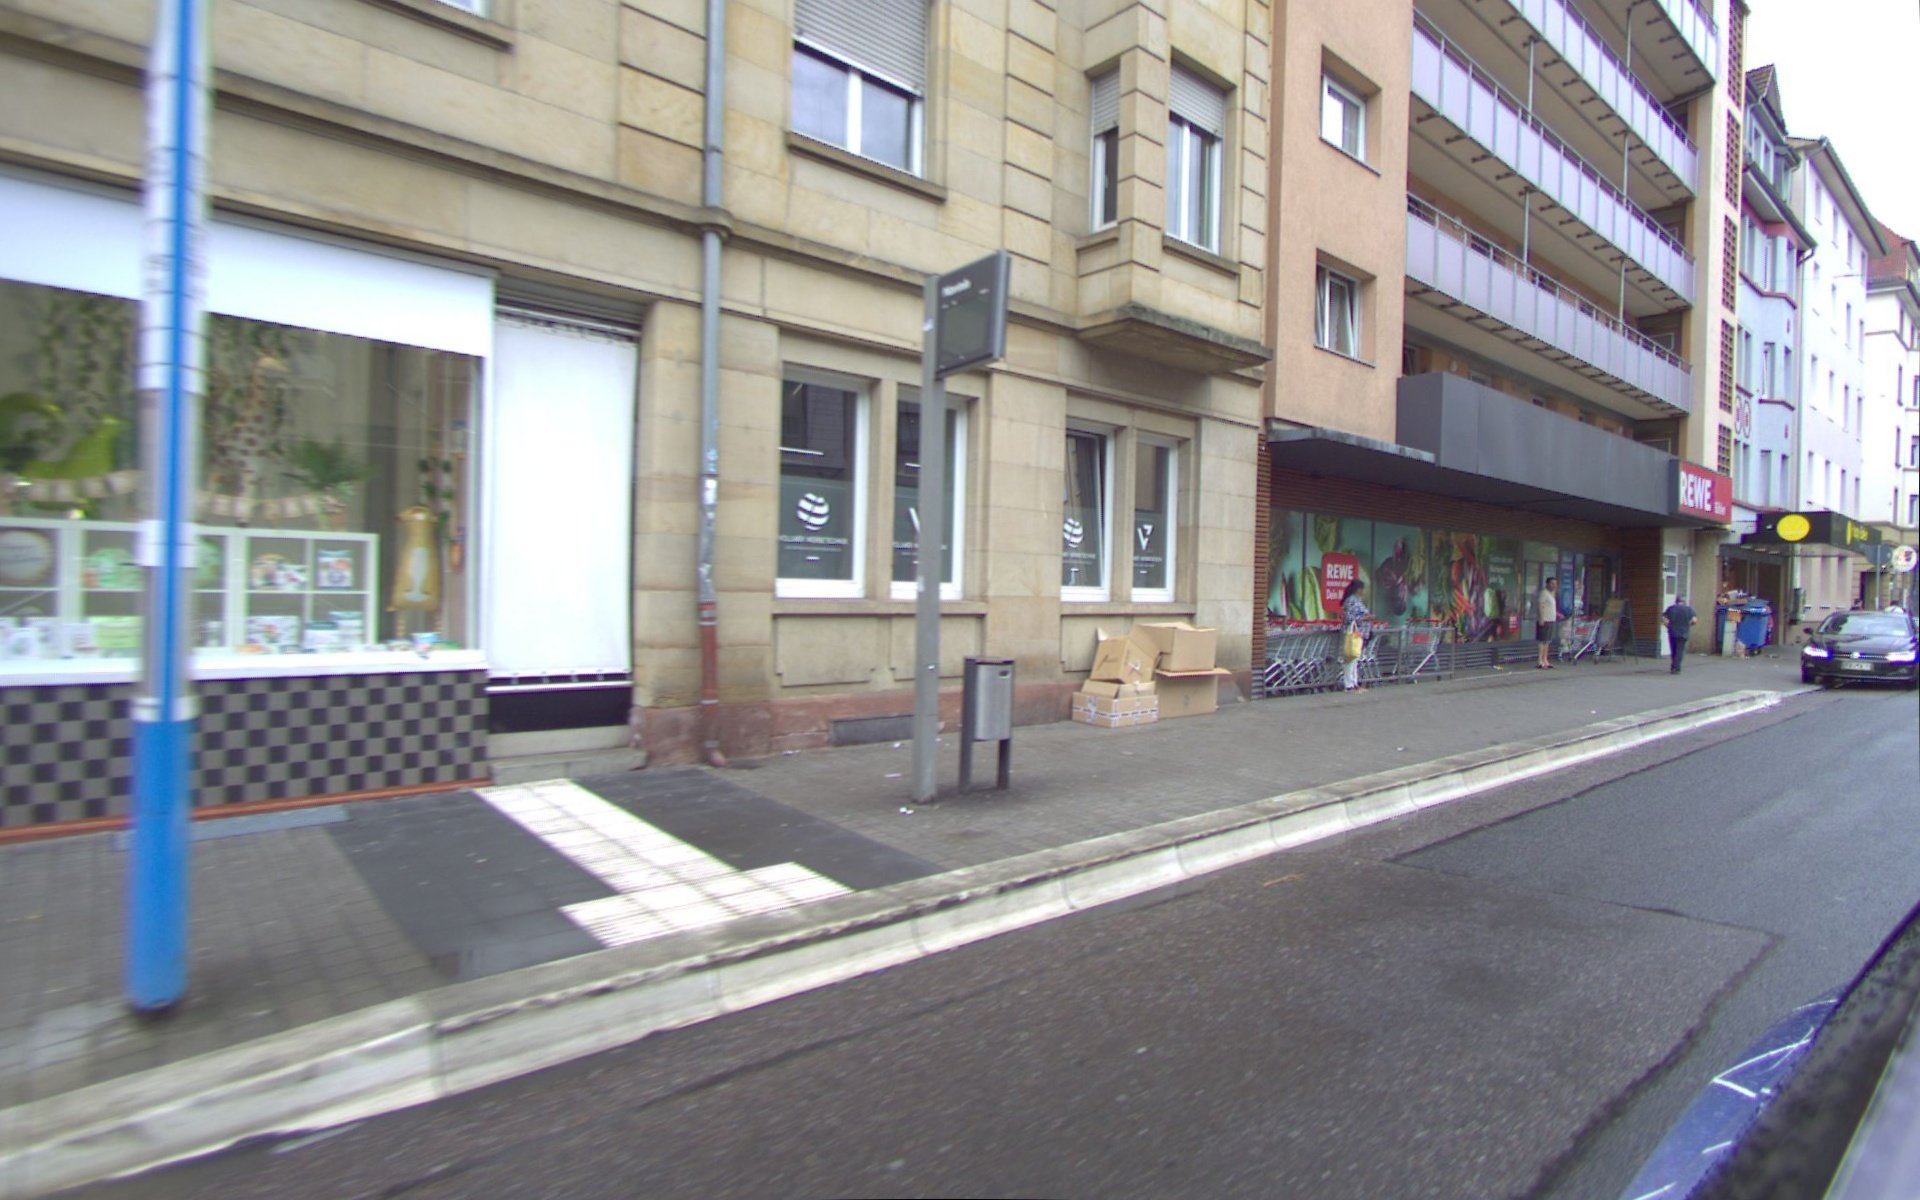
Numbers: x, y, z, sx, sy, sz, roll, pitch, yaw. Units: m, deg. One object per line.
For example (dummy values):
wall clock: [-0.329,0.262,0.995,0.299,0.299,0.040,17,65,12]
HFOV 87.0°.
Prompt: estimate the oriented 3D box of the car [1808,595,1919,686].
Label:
car: [18.348,0.729,20.066,3.912,1.566,1.733,0,2,-41]

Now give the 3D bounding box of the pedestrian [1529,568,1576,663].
pedestrian: [11.984,0.299,20.466,0.714,1.882,0.597,0,1,-38]

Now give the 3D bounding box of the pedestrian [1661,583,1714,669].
pedestrian: [14.771,0.520,20.556,0.735,1.672,0.627,1,2,-40]

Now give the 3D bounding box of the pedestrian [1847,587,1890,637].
pedestrian: [31.826,0.412,35.453,0.767,1.667,0.705,2,2,-7]

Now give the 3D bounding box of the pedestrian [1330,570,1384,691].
pedestrian: [5.405,0.401,13.772,0.559,1.592,0.620,1,0,33]

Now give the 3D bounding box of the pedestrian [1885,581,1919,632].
pedestrian: [32.237,0.227,34.428,0.767,1.667,0.705,2,2,-7]

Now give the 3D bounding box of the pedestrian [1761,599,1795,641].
pedestrian: [26.395,0.639,32.662,0.647,1.273,0.703,0,3,-41]

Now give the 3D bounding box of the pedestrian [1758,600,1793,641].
pedestrian: [25.887,0.645,32.138,0.645,1.273,0.625,1,3,-33]

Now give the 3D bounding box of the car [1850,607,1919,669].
car: [22.285,0.840,23.576,3.699,1.327,1.738,0,-1,-39]

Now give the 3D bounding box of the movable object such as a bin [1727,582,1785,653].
movable object such as a bin: [21.317,0.444,27.102,1.274,1.815,1.000,-1,2,-43]
